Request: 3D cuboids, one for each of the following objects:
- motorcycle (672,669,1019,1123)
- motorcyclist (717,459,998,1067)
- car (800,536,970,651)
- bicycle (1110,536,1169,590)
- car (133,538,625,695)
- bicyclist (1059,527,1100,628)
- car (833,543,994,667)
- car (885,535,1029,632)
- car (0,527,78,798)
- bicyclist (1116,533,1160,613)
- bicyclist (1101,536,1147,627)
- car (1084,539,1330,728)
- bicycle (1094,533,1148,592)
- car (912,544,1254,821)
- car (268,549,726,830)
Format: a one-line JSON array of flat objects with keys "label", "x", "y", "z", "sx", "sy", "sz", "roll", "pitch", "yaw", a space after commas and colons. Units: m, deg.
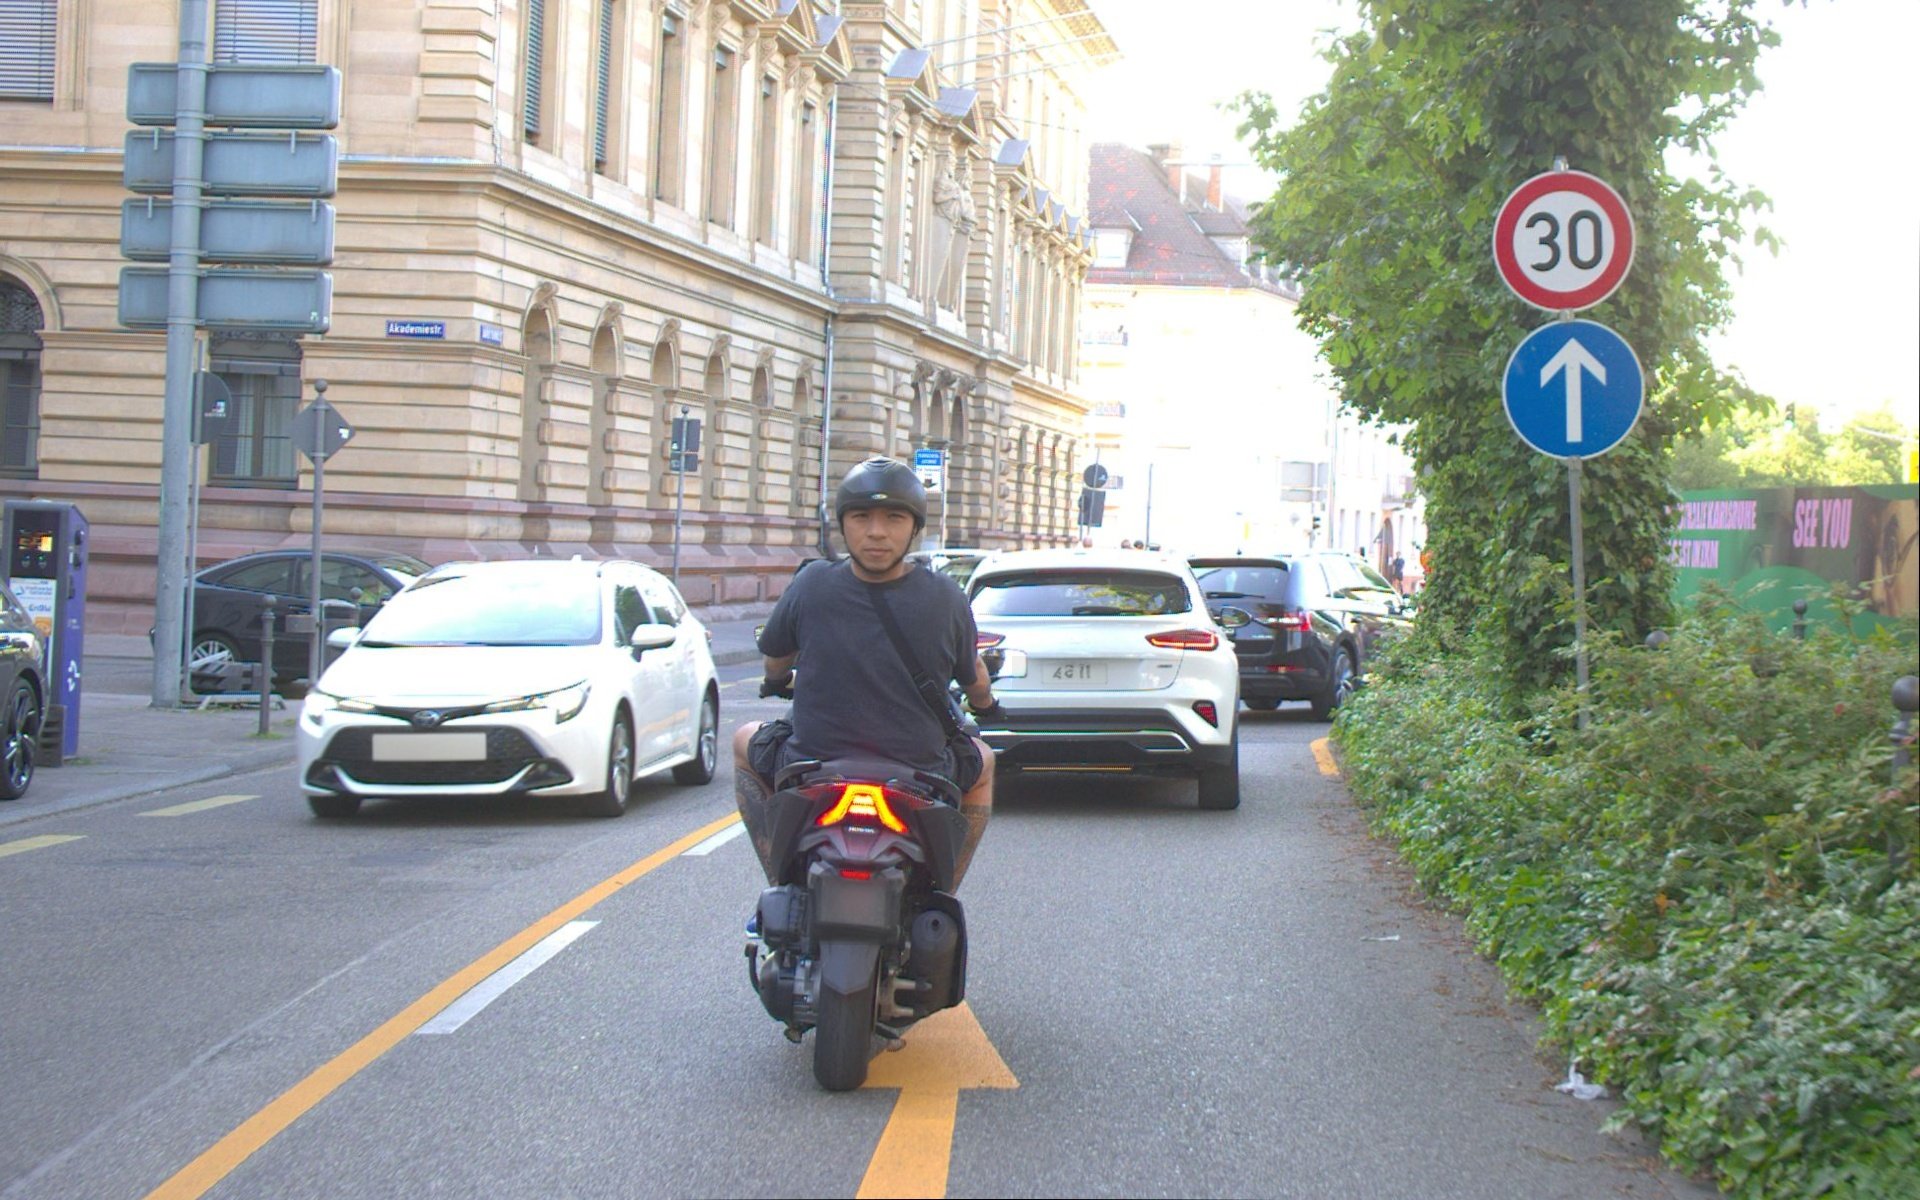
[{"label": "motorcycle", "x": -0.281, "y": 0.780, "z": 9.722, "sx": 0.796, "sy": 1.062, "sz": 1.725, "roll": 3, "pitch": 1, "yaw": 2}, {"label": "motorcyclist", "x": -0.281, "y": 0.444, "z": 9.819, "sx": 0.657, "sy": 1.645, "sz": 0.650, "roll": 3, "pitch": 1, "yaw": 4}, {"label": "car", "x": -1.046, "y": -0.130, "z": 50.316, "sx": 1.994, "sy": 1.561, "sz": 4.288, "roll": 1, "pitch": 1, "yaw": 5}, {"label": "bicycle", "x": 3.500, "y": -0.729, "z": 66.794, "sx": 0.533, "sy": 1.031, "sz": 2.034, "roll": 2, "pitch": 1, "yaw": 21}, {"label": "car", "x": -5.575, "y": 0.132, "z": 33.185, "sx": 4.315, "sy": 1.385, "sz": 1.775, "roll": 1, "pitch": 1, "yaw": 11}, {"label": "bicyclist", "x": 1.986, "y": -0.376, "z": 57.042, "sx": 0.566, "sy": 1.661, "sz": 0.834, "roll": 1, "pitch": 1, "yaw": 8}, {"label": "car", "x": -0.545, "y": 0.023, "z": 44.045, "sx": 1.770, "sy": 1.456, "sz": 4.469, "roll": 1, "pitch": 1, "yaw": 3}, {"label": "car", "x": -0.012, "y": -0.306, "z": 57.425, "sx": 1.994, "sy": 1.523, "sz": 4.184, "roll": 1, "pitch": 1, "yaw": 5}, {"label": "car", "x": -6.277, "y": 0.337, "z": 18.252, "sx": 1.824, "sy": 1.498, "sz": 4.760, "roll": 3, "pitch": 1, "yaw": 1}, {"label": "bicyclist", "x": 3.459, "y": -0.526, "z": 66.833, "sx": 0.629, "sy": 1.548, "sz": 0.731, "roll": 2, "pitch": 1, "yaw": 21}, {"label": "bicyclist", "x": 2.943, "y": -0.344, "z": 61.669, "sx": 0.628, "sy": 1.608, "sz": 0.869, "roll": 1, "pitch": 1, "yaw": 16}, {"label": "car", "x": 2.256, "y": 0.249, "z": 30.416, "sx": 1.841, "sy": 1.458, "sz": 4.056, "roll": 3, "pitch": 1, "yaw": 8}, {"label": "bicycle", "x": 2.896, "y": -0.679, "z": 61.659, "sx": 0.533, "sy": 1.031, "sz": 1.906, "roll": 1, "pitch": 1, "yaw": 16}, {"label": "car", "x": 0.688, "y": 0.413, "z": 20.687, "sx": 1.851, "sy": 1.475, "sz": 4.058, "roll": 0, "pitch": 1, "yaw": 1}, {"label": "car", "x": -2.587, "y": 0.438, "z": 20.271, "sx": 1.735, "sy": 1.416, "sz": 4.428, "roll": -1, "pitch": 1, "yaw": 5}]
